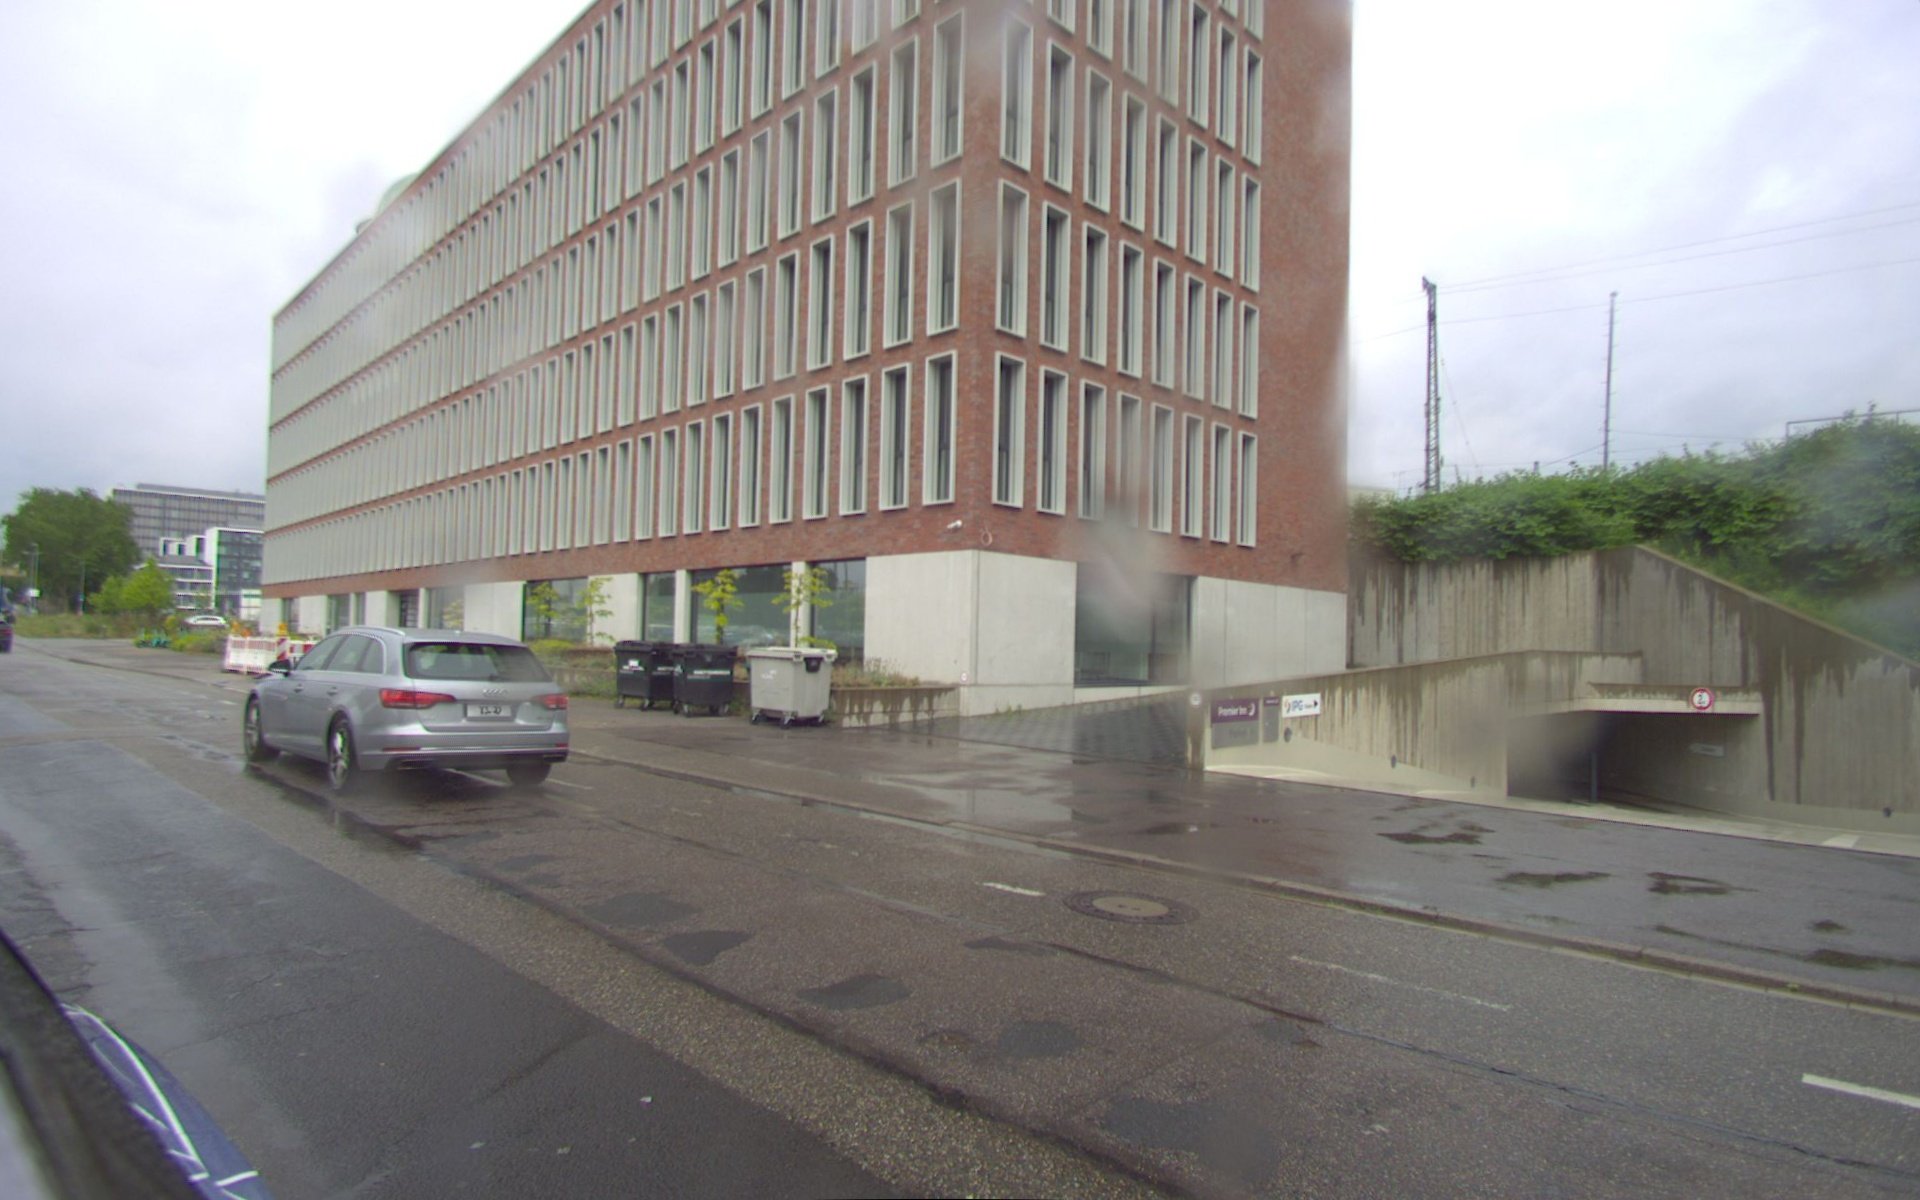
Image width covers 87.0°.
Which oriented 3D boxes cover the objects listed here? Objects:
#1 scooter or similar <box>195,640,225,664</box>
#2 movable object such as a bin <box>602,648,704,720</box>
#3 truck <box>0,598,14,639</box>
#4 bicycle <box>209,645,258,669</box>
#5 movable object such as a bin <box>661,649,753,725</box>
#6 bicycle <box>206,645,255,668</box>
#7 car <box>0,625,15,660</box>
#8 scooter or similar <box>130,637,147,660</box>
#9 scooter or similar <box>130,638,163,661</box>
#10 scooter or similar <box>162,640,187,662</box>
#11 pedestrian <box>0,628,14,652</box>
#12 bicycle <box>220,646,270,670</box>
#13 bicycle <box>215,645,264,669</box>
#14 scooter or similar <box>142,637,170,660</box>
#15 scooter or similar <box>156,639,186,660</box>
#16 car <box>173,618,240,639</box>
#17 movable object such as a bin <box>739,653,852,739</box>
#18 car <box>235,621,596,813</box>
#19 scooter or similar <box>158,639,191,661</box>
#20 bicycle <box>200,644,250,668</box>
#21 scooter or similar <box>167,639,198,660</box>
[{"bbox_3d":[-40.883,2.837,55.164,1.211,1.217,0.418,5,-4,-40],"label":"scooter or similar"},{"bbox_3d":[-6.020,1.613,19.885,1.446,1.318,1.284,-1,-3,36],"label":"movable object such as a bin"},{"bbox_3d":[-112.107,2.080,115.634,3.248,4.689,6.050,3,-3,-17],"label":"truck"},{"bbox_3d":[-35.144,2.738,49.005,0.544,1.085,1.839,-1,-2,41],"label":"bicycle"},{"bbox_3d":[-4.703,1.596,18.769,1.355,1.318,1.453,2,-3,-26],"label":"movable object such as a bin"},{"bbox_3d":[-35.634,2.746,49.448,0.544,1.085,1.839,-1,-2,41],"label":"bicycle"},{"bbox_3d":[-46.317,1.954,47.702,4.141,1.581,1.743,-1,-5,36],"label":"car"},{"bbox_3d":[-46.637,2.762,57.459,1.320,1.239,0.461,-1,-4,40],"label":"scooter or similar"},{"bbox_3d":[-44.739,2.723,55.668,1.298,1.239,0.469,3,-3,-18],"label":"scooter or similar"},{"bbox_3d":[-43.044,2.792,55.451,0.460,1.217,1.209,2,-3,-5],"label":"scooter or similar"},{"bbox_3d":[-71.945,3.005,76.176,1.026,1.731,0.898,0,-3,43],"label":"pedestrian"},{"bbox_3d":[-33.787,2.733,47.848,0.544,1.085,1.839,-1,-2,41],"label":"bicycle"},{"bbox_3d":[-34.446,2.731,48.402,0.544,1.085,1.839,-1,-2,41],"label":"bicycle"},{"bbox_3d":[-45.271,2.740,56.987,1.308,1.239,0.465,1,-3,15],"label":"scooter or similar"},{"bbox_3d":[-45.402,2.849,58.250,1.300,1.186,0.468,5,-4,-42],"label":"scooter or similar"},{"bbox_3d":[-67.462,2.579,90.671,1.998,1.653,4.475,0,-3,40],"label":"car"},{"bbox_3d":[-2.772,1.575,17.049,1.358,1.342,1.282,-1,-4,41],"label":"movable object such as a bin"},{"bbox_3d":[-5.450,1.010,9.854,4.381,1.461,1.714,-1,-6,43],"label":"car"},{"bbox_3d":[-44.119,2.815,56.858,0.466,1.186,1.307,0,-4,31],"label":"scooter or similar"},{"bbox_3d":[-36.299,2.759,49.993,0.620,1.085,1.927,-1,-2,41],"label":"bicycle"},{"bbox_3d":[-44.698,2.847,58.200,1.300,1.186,0.468,5,-4,-42],"label":"scooter or similar"}]
